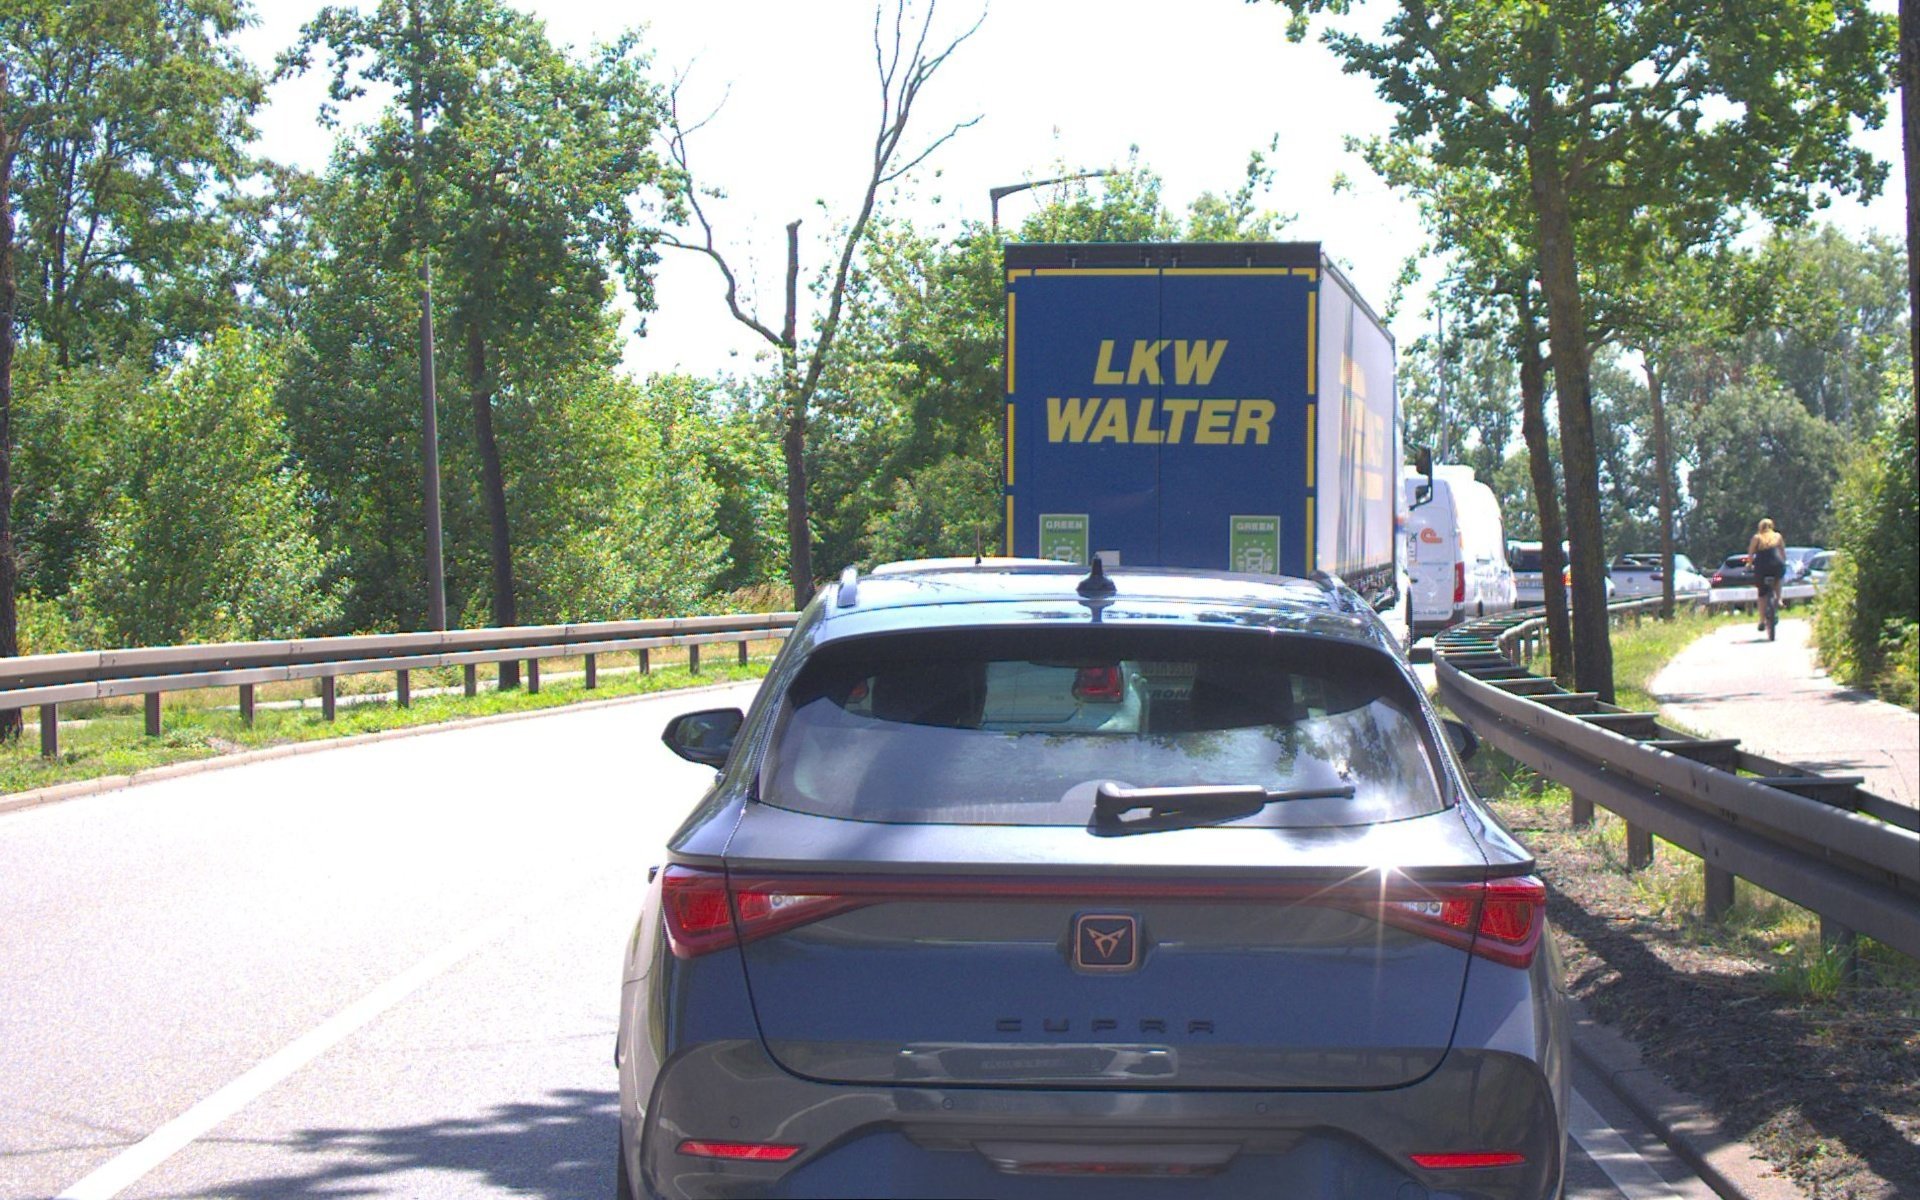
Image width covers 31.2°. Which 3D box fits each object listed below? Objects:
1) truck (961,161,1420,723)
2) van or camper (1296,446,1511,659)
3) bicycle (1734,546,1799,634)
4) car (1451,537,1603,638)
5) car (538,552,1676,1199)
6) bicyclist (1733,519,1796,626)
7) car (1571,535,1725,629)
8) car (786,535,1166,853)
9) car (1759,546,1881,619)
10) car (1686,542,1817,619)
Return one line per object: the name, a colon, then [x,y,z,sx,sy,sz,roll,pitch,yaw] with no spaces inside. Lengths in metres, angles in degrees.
truck: [2.926,-1.343,35.655,2.951,4.433,16.791,1,1,10]
van or camper: [6.733,-0.702,51.552,2.468,2.988,6.082,1,1,14]
bicycle: [11.660,-0.148,49.769,0.861,1.232,2.308,1,1,12]
car: [10.144,-0.232,61.240,1.995,1.706,4.616,1,1,18]
car: [0.181,0.628,7.238,1.744,1.427,3.880,1,1,-1]
bicyclist: [11.618,-0.398,49.673,0.861,1.518,0.980,1,1,12]
car: [13.900,-0.374,69.267,1.996,1.802,4.839,1,1,24]
car: [0.165,0.428,18.505,1.809,1.503,4.000,1,1,3]
car: [21.472,-0.443,85.697,1.996,1.762,4.748,1,1,26]
car: [18.257,-0.455,79.151,1.996,1.711,4.862,1,1,24]
